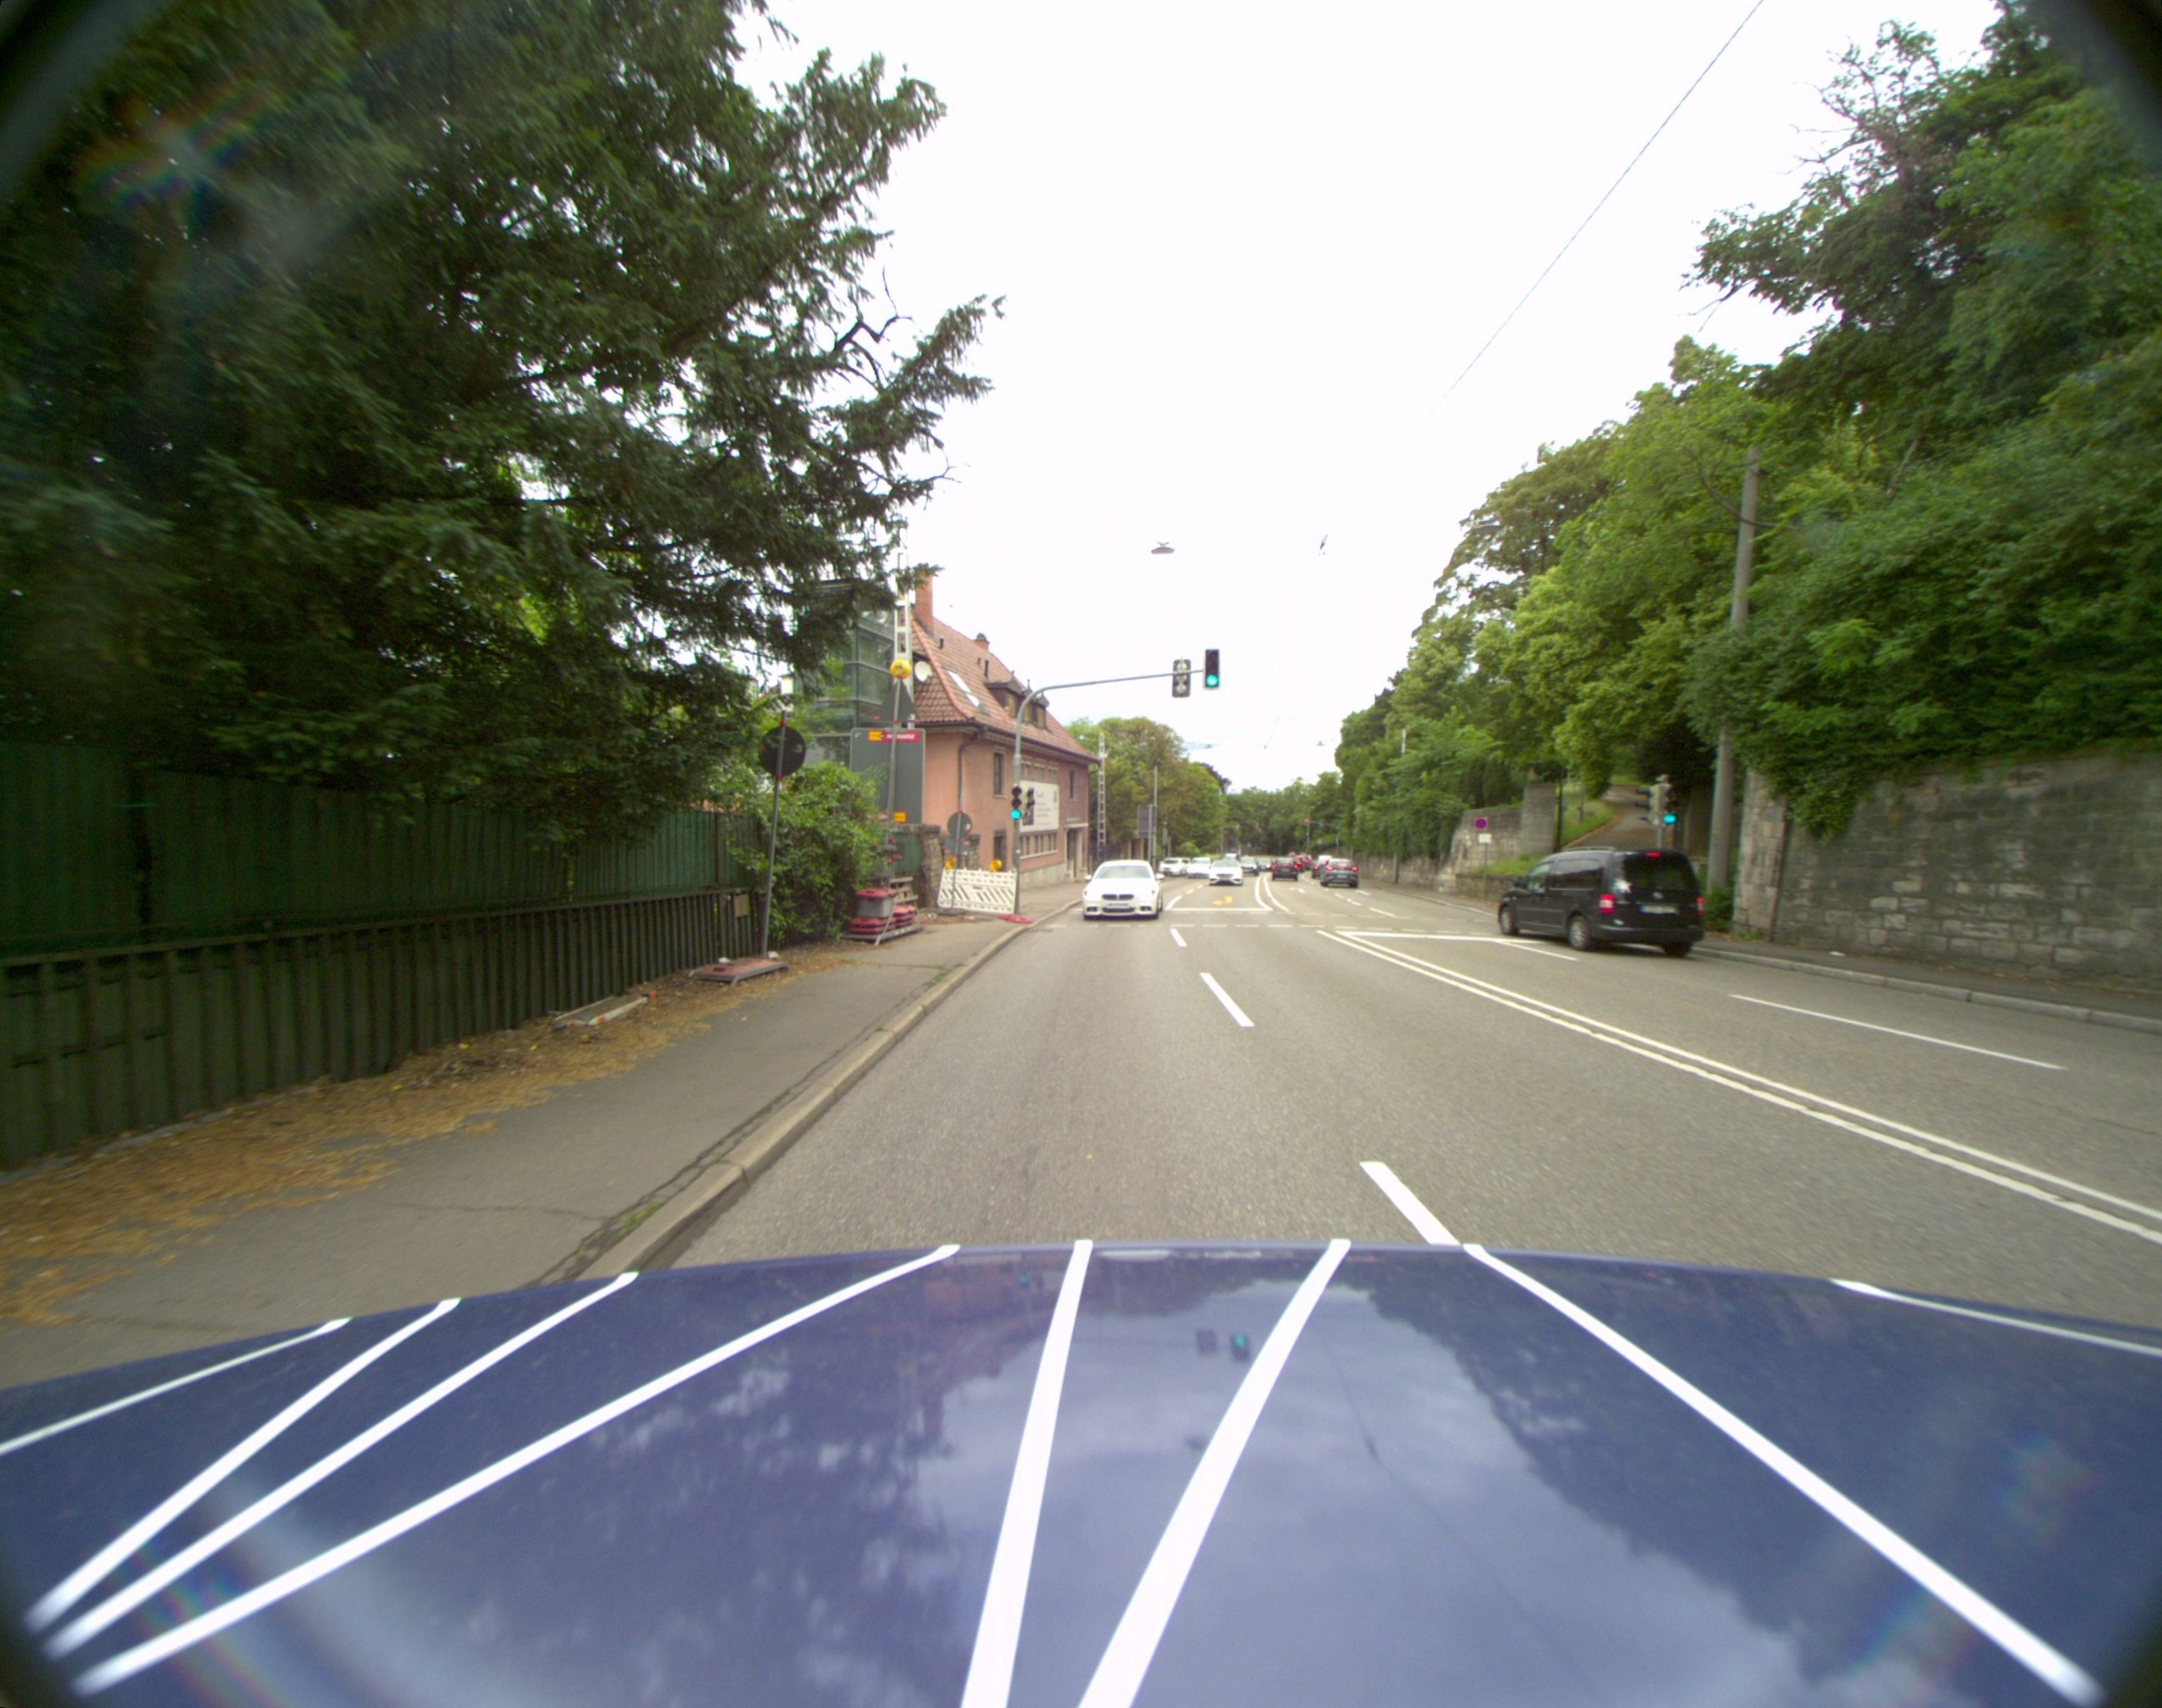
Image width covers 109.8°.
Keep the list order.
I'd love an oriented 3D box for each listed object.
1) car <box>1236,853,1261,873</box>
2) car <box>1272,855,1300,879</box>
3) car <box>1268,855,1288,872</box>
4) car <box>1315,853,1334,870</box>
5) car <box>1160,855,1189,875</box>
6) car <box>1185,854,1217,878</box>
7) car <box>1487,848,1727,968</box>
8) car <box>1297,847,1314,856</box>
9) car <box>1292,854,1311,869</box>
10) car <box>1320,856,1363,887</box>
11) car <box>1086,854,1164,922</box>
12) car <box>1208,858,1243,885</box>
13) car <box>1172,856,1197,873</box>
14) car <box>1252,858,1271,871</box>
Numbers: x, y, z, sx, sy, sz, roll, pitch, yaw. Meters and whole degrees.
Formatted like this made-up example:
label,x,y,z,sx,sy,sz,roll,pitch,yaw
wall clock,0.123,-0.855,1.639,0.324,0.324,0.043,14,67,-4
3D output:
label,x,y,z,sx,sy,sz,roll,pitch,yaw
car,14.475,0.756,65.768,1.956,1.730,4.003,1,0,10
car,14.403,0.876,53.412,1.756,1.557,3.683,2,0,15
car,19.066,0.892,73.480,1.851,1.622,4.366,1,0,15
car,27.811,0.798,86.823,1.895,1.837,4.402,2,1,17
car,7.554,0.861,61.183,1.677,1.453,4.370,3,1,14
car,9.270,0.893,58.432,1.956,1.761,4.005,1,0,15
car,9.517,0.865,14.251,1.747,1.835,4.250,3,0,5
car,37.218,-0.385,126.098,1.846,1.401,4.457,2,1,5
car,25.688,0.843,88.446,1.962,1.739,4.884,1,0,16
car,14.634,0.941,42.910,1.996,1.598,4.482,3,0,16
car,1.274,0.789,20.232,1.822,1.463,4.785,1,1,6
car,8.055,0.958,42.427,1.801,1.382,3.530,1,0,10
car,9.147,0.894,67.023,1.717,1.463,4.043,1,0,15
car,19.822,1.115,83.503,1.832,1.369,4.005,1,0,16
